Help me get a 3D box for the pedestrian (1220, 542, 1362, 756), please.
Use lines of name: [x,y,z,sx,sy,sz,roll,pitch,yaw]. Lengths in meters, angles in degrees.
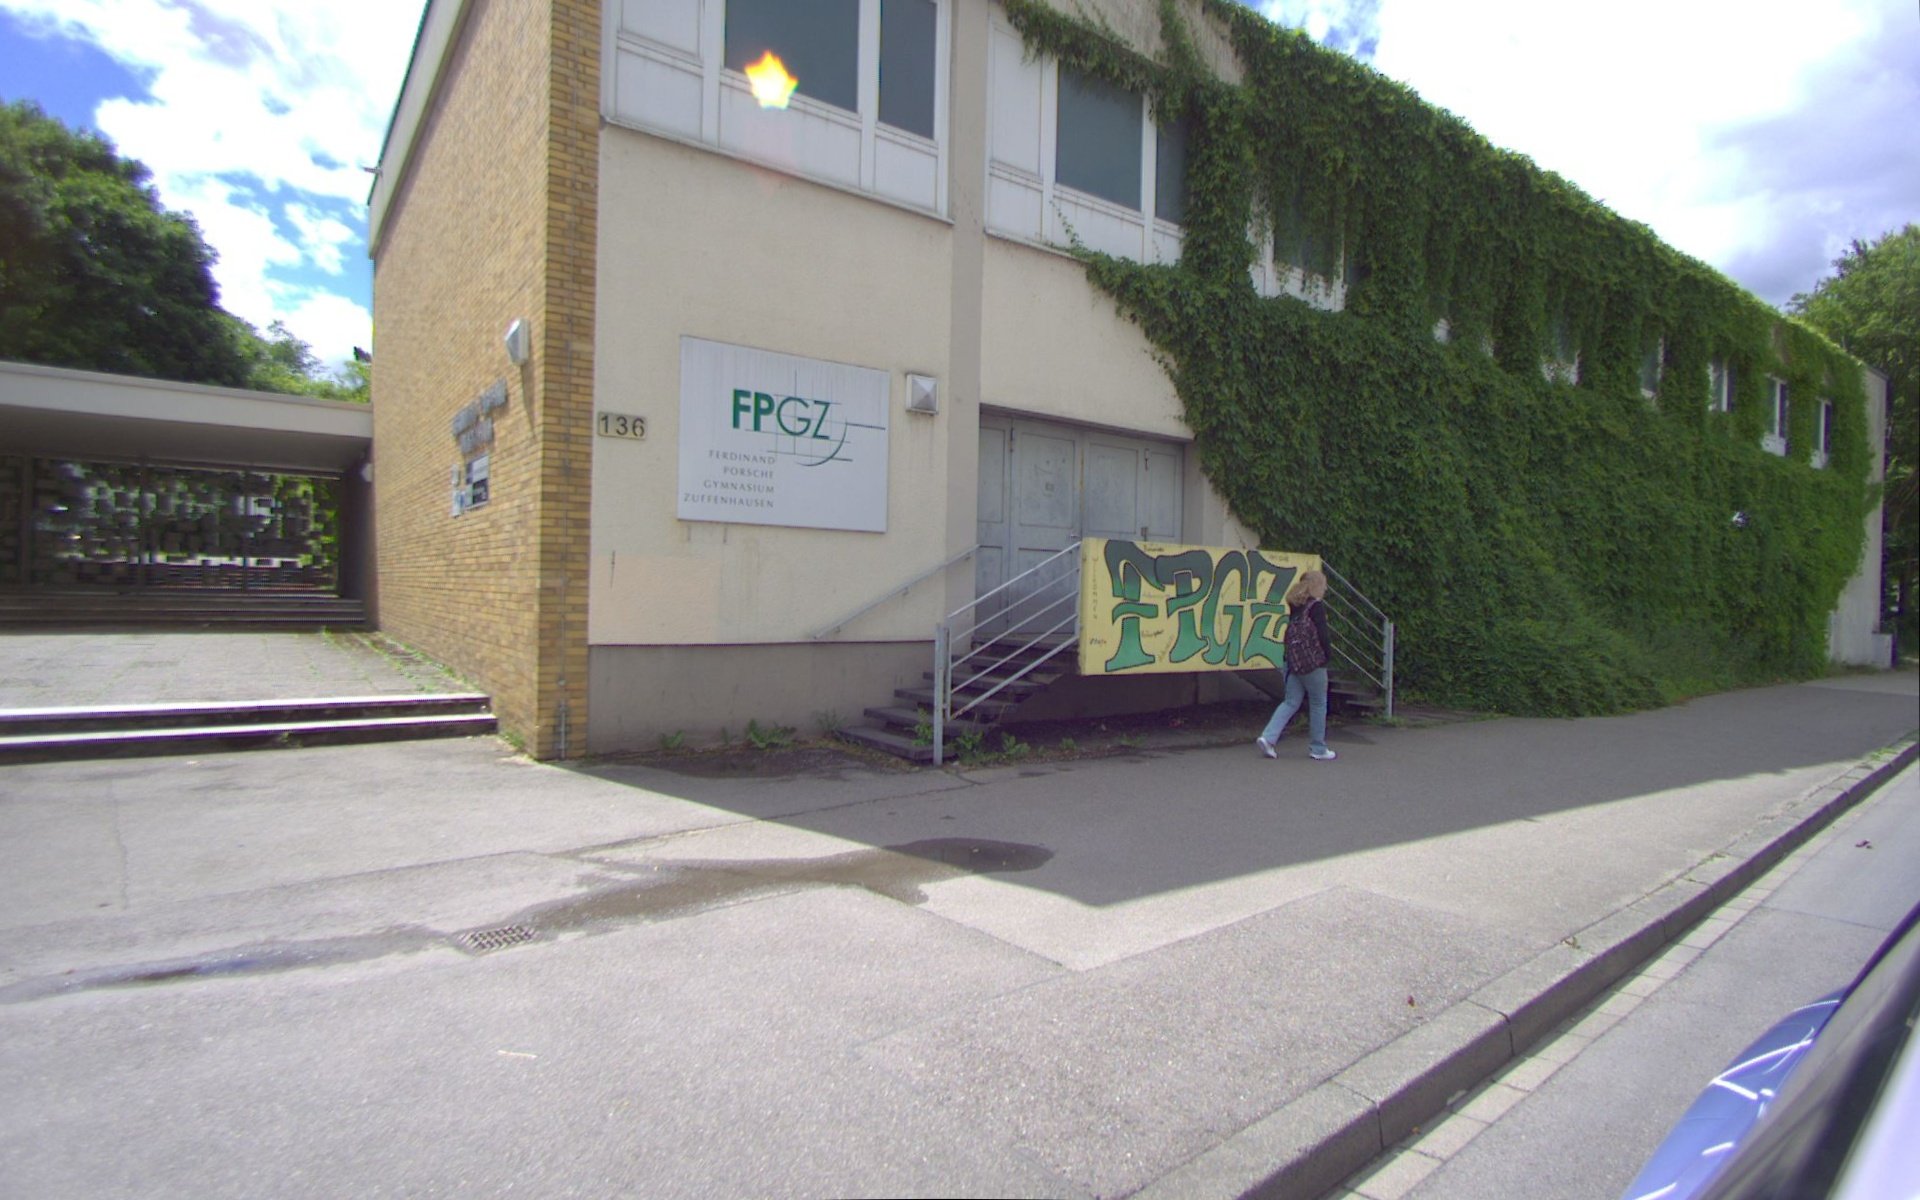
pedestrian: [2.949,0.402,9.049,0.800,1.793,0.813,1,2,-31]
